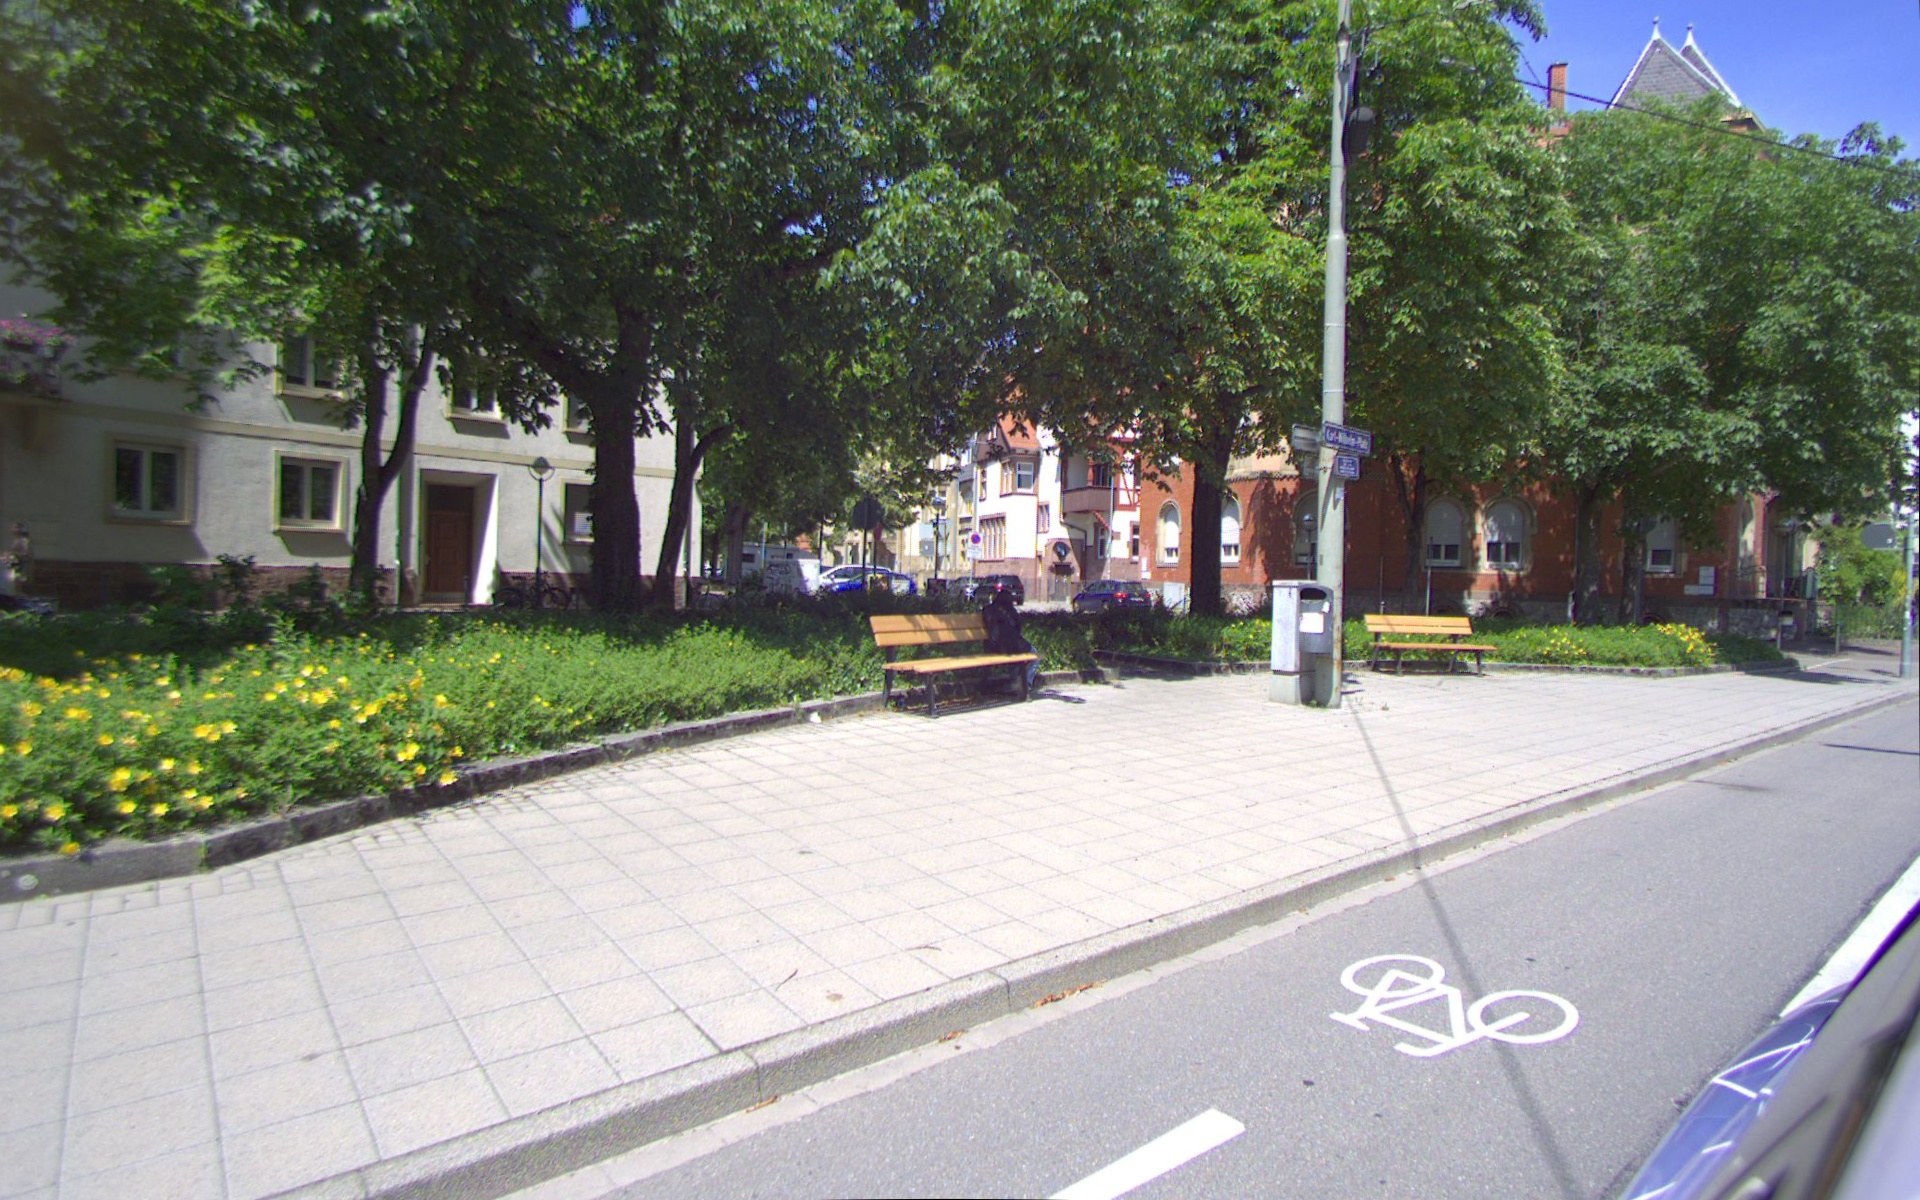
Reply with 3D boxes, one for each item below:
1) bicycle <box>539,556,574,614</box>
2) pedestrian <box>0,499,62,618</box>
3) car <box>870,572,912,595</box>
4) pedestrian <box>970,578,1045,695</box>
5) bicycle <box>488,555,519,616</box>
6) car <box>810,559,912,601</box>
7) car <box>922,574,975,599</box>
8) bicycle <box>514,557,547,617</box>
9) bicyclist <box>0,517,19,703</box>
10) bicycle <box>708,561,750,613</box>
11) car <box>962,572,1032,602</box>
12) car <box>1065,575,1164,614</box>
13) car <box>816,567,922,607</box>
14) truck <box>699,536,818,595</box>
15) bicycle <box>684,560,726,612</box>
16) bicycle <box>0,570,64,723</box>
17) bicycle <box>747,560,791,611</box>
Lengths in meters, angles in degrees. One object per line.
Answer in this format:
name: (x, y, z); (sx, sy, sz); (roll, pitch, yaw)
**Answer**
bicycle: (-9.592, -0.360, 24.004); (0.536, 1.316, 2.162); (0, 1, -28)
pedestrian: (-16.427, -0.720, 17.756); (0.800, 2.039, 0.766); (1, 1, 27)
car: (-5.109, -1.229, 74.495); (1.865, 1.575, 4.411); (0, 1, -21)
pedestrian: (0.468, 0.351, 10.028); (0.469, 1.105, 0.511); (2, 2, -34)
bicycle: (-10.721, -0.342, 23.759); (0.505, 1.361, 2.332); (0, 1, -28)
car: (-4.421, -0.888, 45.164); (4.176, 1.673, 1.731); (2, 0, -21)
car: (-0.784, -0.867, 63.303); (1.865, 1.482, 4.626); (0, 1, -21)
bicycle: (-10.199, -0.328, 23.993); (0.505, 1.364, 2.247); (0, 1, -28)
bicyclist: (-9.740, 0.097, 9.906); (0.594, 1.822, 0.532); (1, 1, 12)
bicycle: (-6.100, -0.364, 26.642); (0.536, 1.316, 2.162); (0, 1, -28)
car: (1.896, -0.730, 54.591); (1.946, 1.551, 5.503); (0, 1, -19)
car: (6.201, -0.257, 41.191); (1.865, 1.459, 4.769); (0, 1, -21)
car: (-3.609, -0.513, 40.014); (3.807, 1.447, 1.731); (2, 0, -21)
truck: (-12.087, -2.048, 60.706); (6.685, 3.193, 1.939); (2, 0, -19)
bicycle: (-6.663, -0.377, 26.365); (0.536, 1.316, 2.162); (0, 1, -28)
bicycle: (-9.813, 0.467, 9.526); (0.584, 1.504, 2.161); (1, 1, 11)
bicycle: (-5.138, -0.399, 27.132); (0.536, 1.316, 2.162); (0, 1, -28)
